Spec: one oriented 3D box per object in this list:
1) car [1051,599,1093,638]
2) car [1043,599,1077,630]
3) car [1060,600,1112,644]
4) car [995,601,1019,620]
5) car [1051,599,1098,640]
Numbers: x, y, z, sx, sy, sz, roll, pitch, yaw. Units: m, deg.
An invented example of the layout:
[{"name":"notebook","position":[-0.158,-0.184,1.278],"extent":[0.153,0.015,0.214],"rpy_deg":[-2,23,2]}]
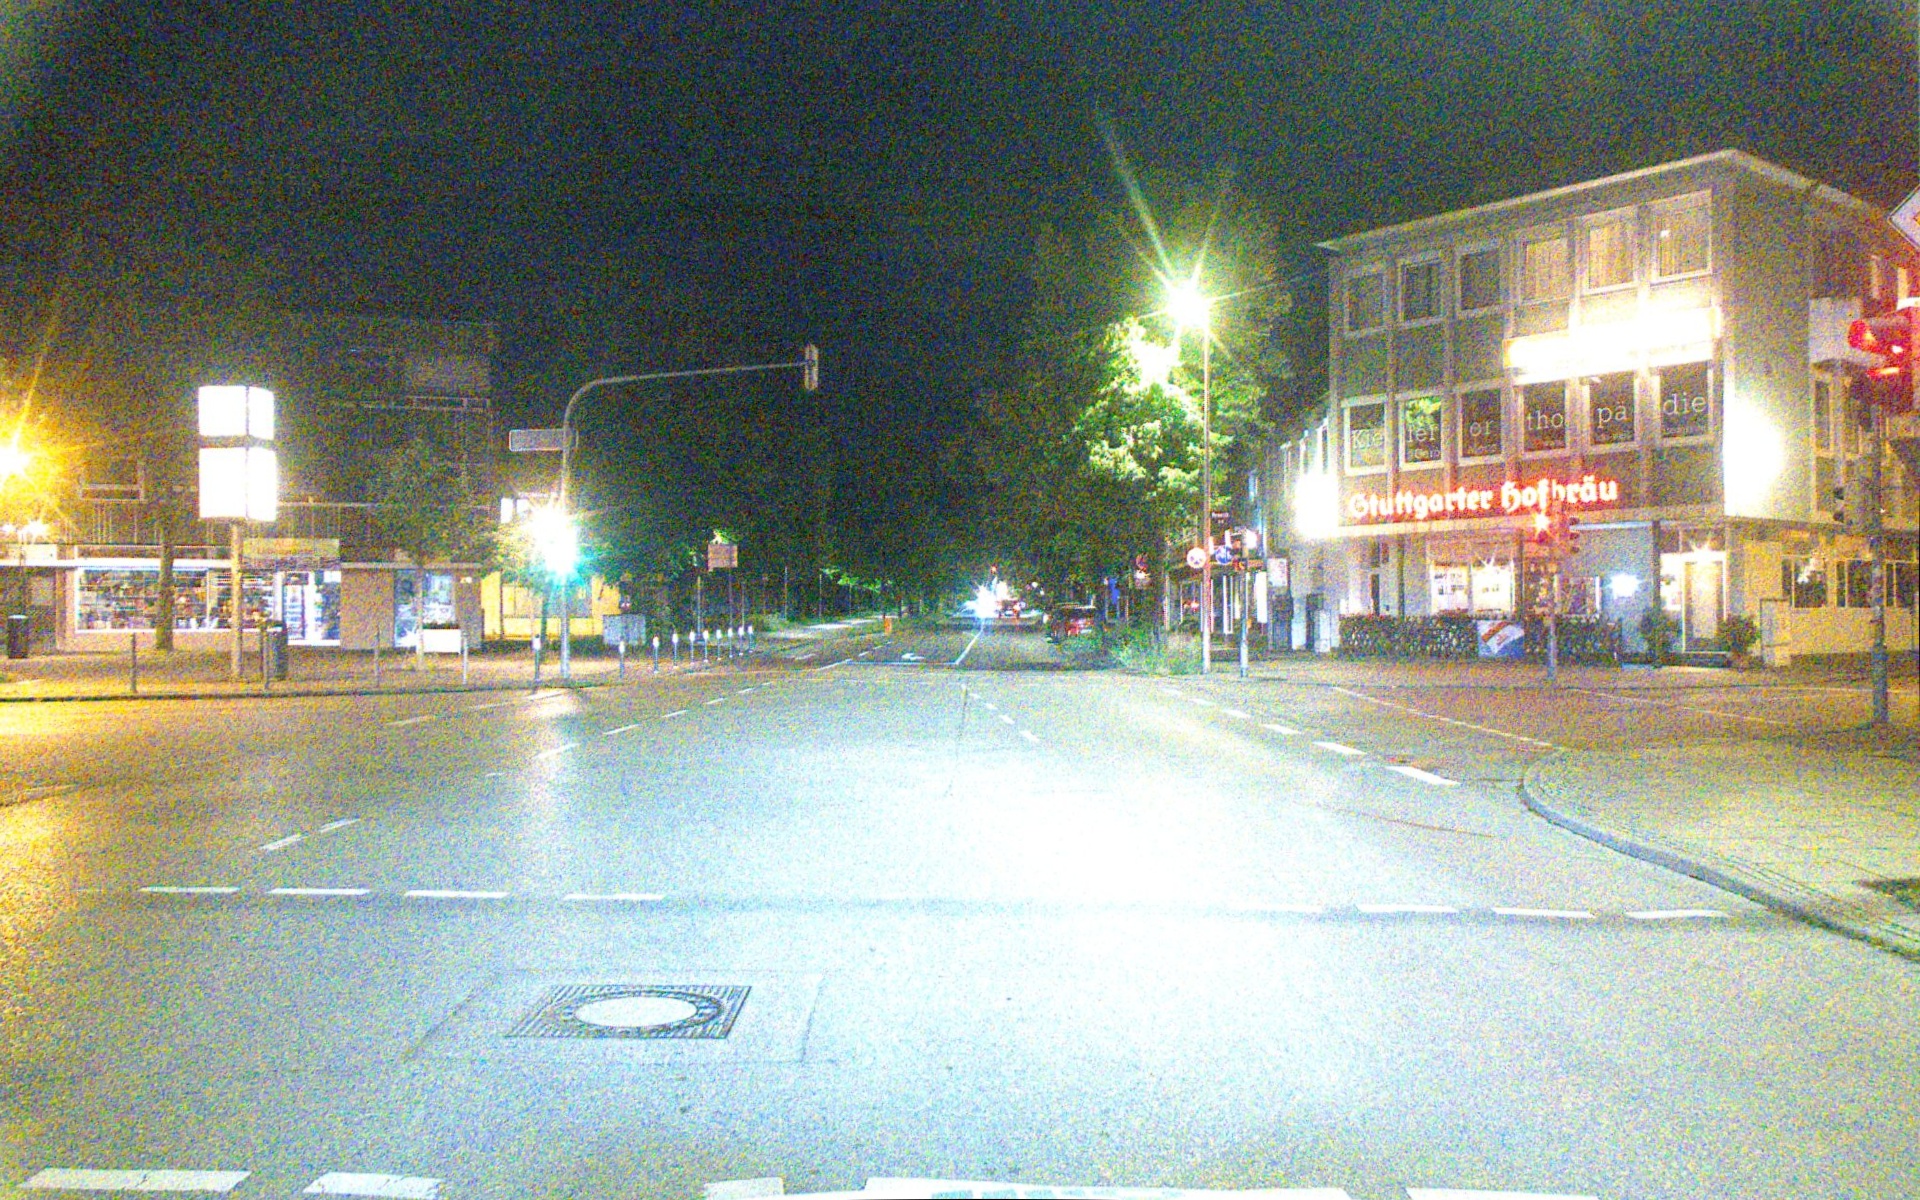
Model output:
[{"name":"car","position":[5.158,0.846,76.516],"extent":[1.837,1.759,4.001],"rpy_deg":[0,0,2]},{"name":"car","position":[5.673,0.820,94.537],"extent":[1.837,1.713,4.001],"rpy_deg":[0,0,2]},{"name":"car","position":[4.819,0.840,63.734],"extent":[1.837,1.643,4.001],"rpy_deg":[0,0,2]},{"name":"car","position":[3.834,0.862,135.562],"extent":[1.835,1.479,4.316],"rpy_deg":[1,0,0]},{"name":"car","position":[4.733,0.804,68.840],"extent":[1.837,1.643,4.001],"rpy_deg":[0,0,2]}]
